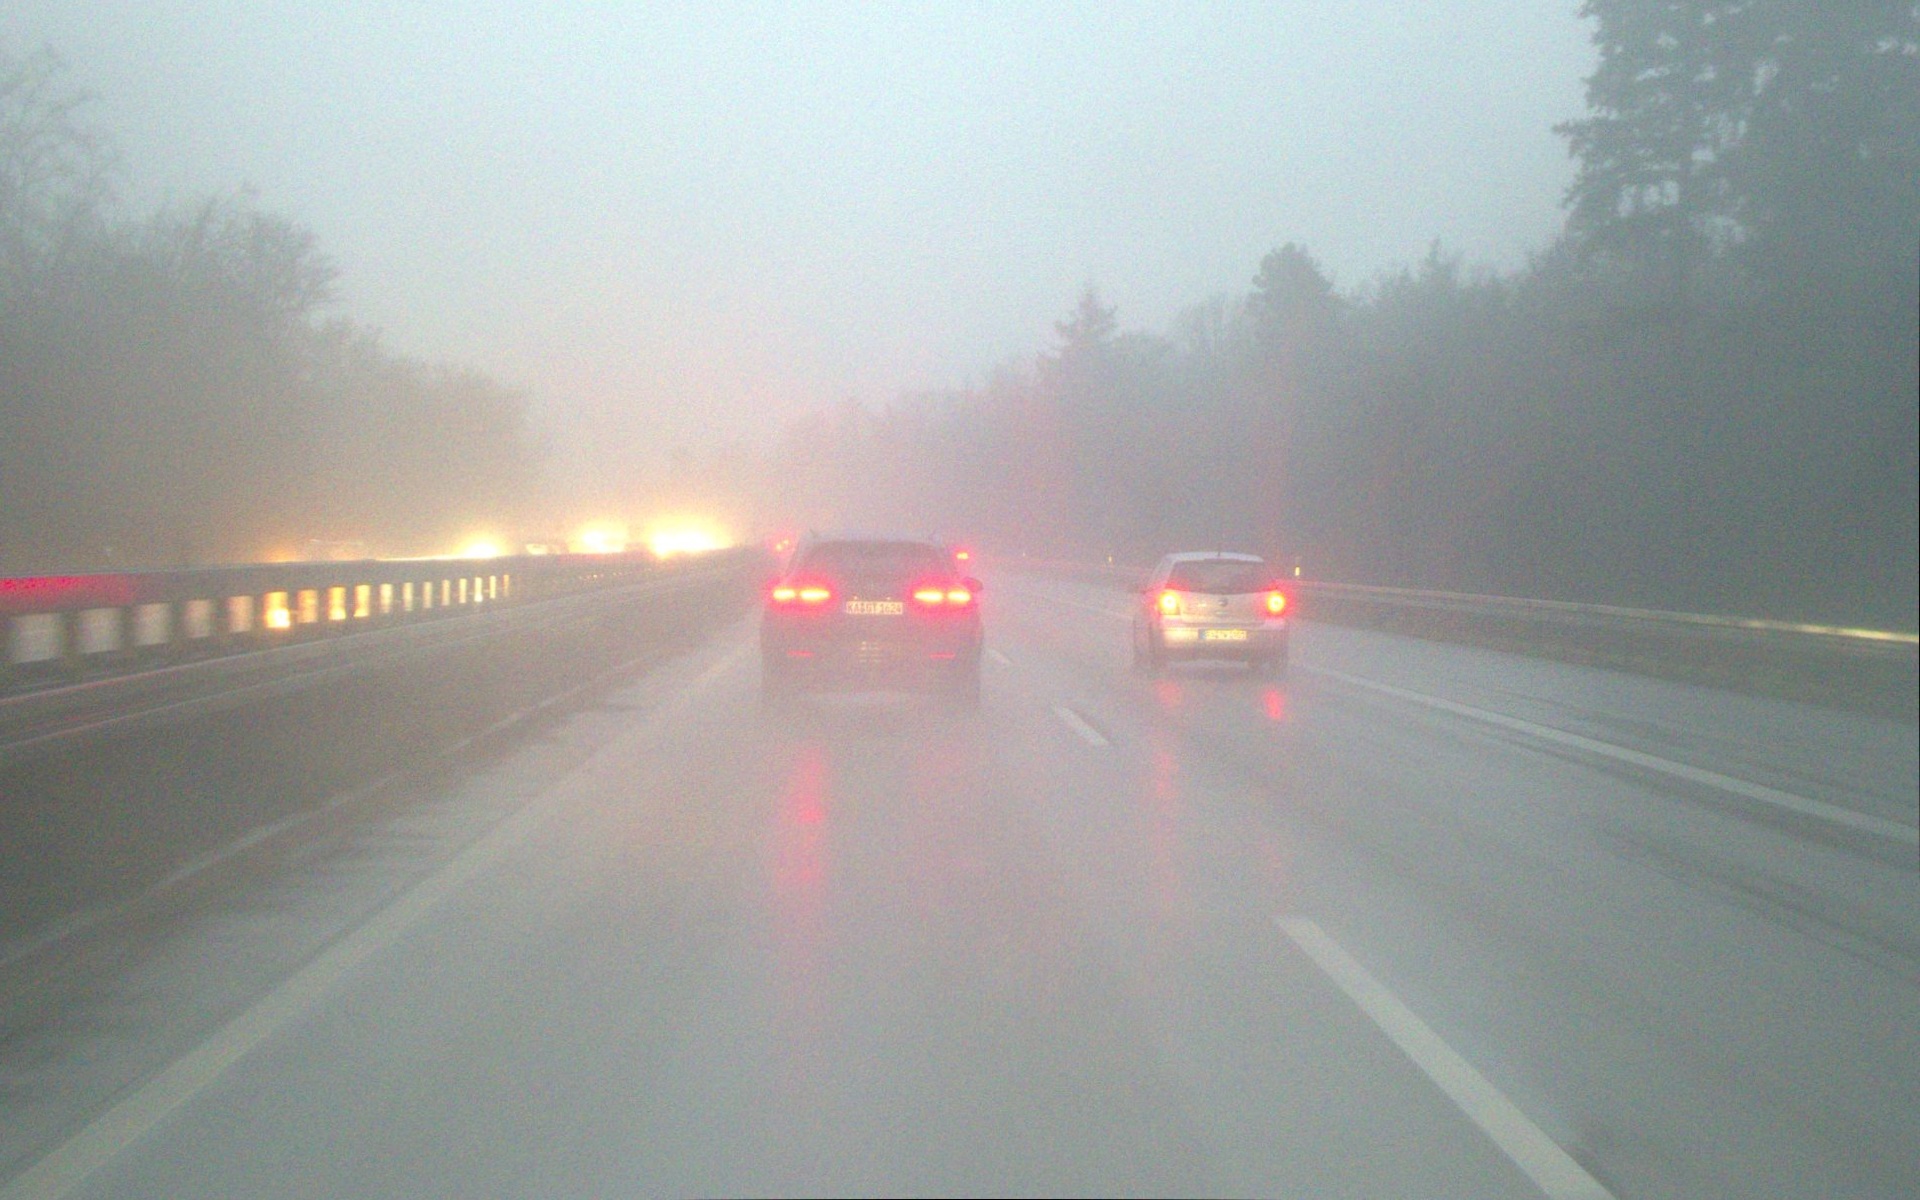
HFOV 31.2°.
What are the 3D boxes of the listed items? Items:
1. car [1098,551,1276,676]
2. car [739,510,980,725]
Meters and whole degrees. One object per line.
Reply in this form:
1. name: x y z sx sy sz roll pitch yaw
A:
1. car: 2.734 0.129 42.039 1.780 1.432 3.538 1 1 -2
2. car: -0.866 0.105 30.623 1.986 1.761 4.174 1 1 -1
